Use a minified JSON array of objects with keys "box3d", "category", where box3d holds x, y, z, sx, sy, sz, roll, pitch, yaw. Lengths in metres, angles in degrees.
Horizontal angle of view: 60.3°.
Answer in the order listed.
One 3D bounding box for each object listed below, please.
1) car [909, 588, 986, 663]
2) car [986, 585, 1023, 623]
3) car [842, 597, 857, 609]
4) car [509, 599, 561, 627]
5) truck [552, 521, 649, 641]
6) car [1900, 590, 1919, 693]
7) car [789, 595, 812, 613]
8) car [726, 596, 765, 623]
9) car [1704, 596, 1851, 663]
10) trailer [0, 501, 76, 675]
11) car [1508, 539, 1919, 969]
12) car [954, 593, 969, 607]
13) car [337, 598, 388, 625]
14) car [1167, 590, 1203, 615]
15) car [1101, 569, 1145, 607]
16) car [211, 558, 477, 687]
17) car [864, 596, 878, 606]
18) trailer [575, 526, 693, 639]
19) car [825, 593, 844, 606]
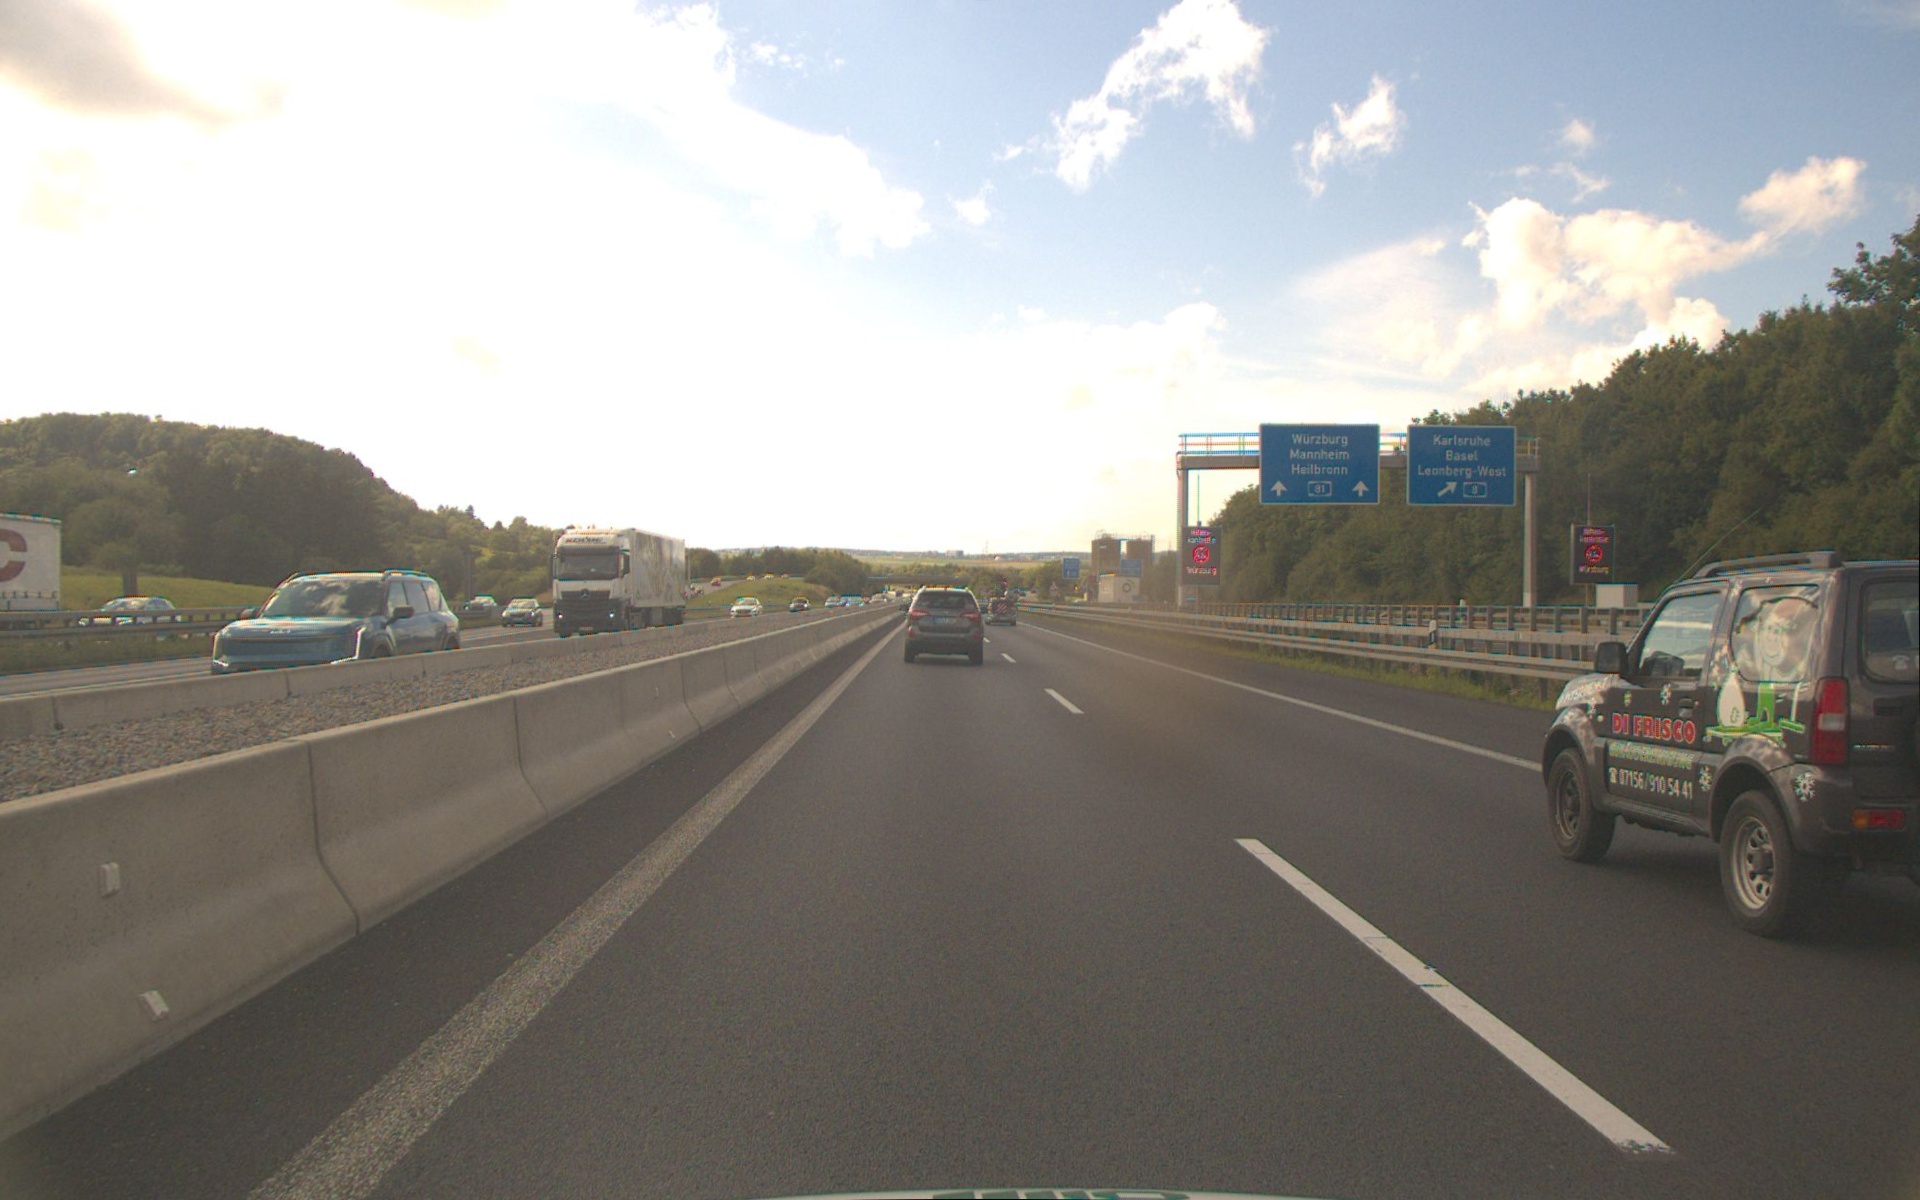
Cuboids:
[{"box3d":[-0.272,0.579,38.862,1.714,1.659,3.609,-1,0,0],"category":"car"},{"box3d":[2.579,0.231,96.996,1.953,2.117,3.999,-1,0,-1],"category":"car"},{"box3d":[-15.062,0.406,225.547,1.953,1.559,4.506,-1,0,-1],"category":"car"},{"box3d":[-23.730,0.724,92.423,1.903,1.521,4.127,-1,0,-1],"category":"car"},{"box3d":[-13.157,-0.651,60.877,2.438,4.201,5.297,-1,0,-1],"category":"truck"},{"box3d":[15.093,0.614,22.755,1.953,1.510,3.998,1,0,-2],"category":"car"},{"box3d":[-14.553,0.374,151.403,1.764,1.646,4.301,-1,0,-1],"category":"car"},{"box3d":[-13.925,0.607,107.516,1.953,1.646,5.001,-1,0,-1],"category":"car"},{"box3d":[22.177,0.766,45.038,1.953,1.738,3.999,-1,0,-1],"category":"car"},{"box3d":[-30.321,-0.345,47.752,3.048,5.251,14.701,-1,0,-6],"category":"trailer"},{"box3d":[4.453,0.640,8.904,1.632,1.763,4.207,0,0,0],"category":"car"},{"box3d":[0.170,-0.045,222.055,1.935,1.810,4.119,-1,0,-1],"category":"car"},{"box3d":[-38.334,0.719,106.125,1.764,1.646,4.301,-1,0,-1],"category":"car"},{"box3d":[16.384,0.187,120.666,1.953,1.747,3.999,-1,0,-1],"category":"car"},{"box3d":[16.465,-1.156,167.683,3.504,3.741,7.547,-1,0,-1],"category":"car"},{"box3d":[-8.126,0.274,22.364,1.810,1.521,4.971,-1,0,-1],"category":"car"},{"box3d":[-13.059,0.155,243.569,1.953,1.559,5.020,-1,0,-1],"category":"car"},{"box3d":[-13.273,-0.634,68.566,2.438,4.201,13.280,-1,0,-1],"category":"trailer"},{"box3d":[-14.814,-0.026,195.710,1.953,1.481,4.180,-1,0,-1],"category":"car"}]
